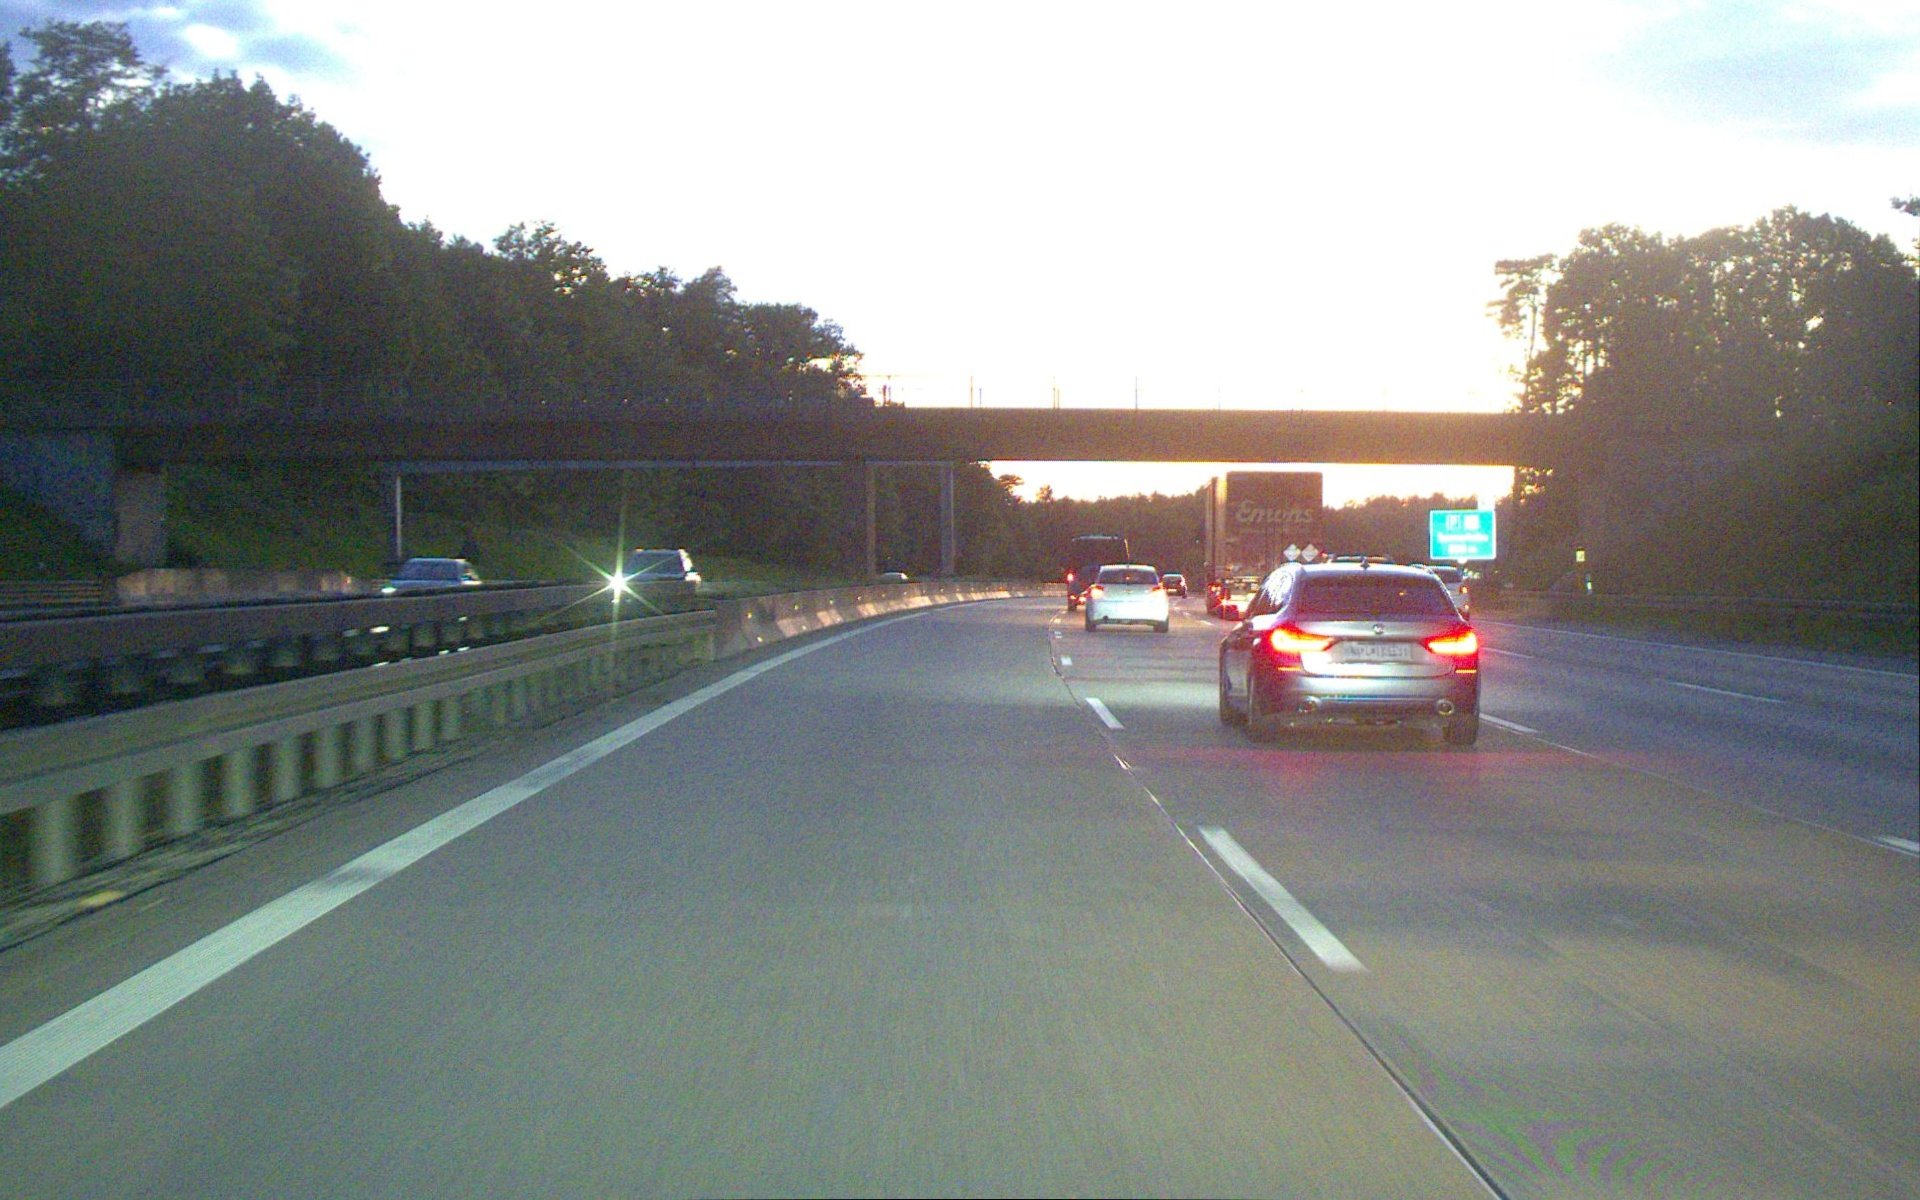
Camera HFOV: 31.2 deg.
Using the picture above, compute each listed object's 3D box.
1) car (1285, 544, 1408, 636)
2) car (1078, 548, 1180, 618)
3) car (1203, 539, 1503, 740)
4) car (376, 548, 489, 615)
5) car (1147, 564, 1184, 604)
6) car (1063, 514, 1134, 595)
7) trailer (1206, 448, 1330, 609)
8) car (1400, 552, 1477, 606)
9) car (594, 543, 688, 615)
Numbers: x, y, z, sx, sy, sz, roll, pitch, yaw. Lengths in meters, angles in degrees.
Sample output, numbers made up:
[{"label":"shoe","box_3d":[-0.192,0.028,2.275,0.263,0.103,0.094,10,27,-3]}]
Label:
[{"label":"car","box_3d":[7.189,-0.195,64.362,1.903,1.638,5.052,1,0,2]},{"label":"car","box_3d":[3.621,-0.383,74.181,1.859,1.437,3.721,0,1,-2]},{"label":"car","box_3d":[3.263,0.265,29.523,1.909,1.532,5.232,0,1,-1]},{"label":"car","box_3d":[-12.094,-0.440,79.110,1.875,1.438,4.451,1,1,1]},{"label":"car","box_3d":[12.940,-1.013,216.847,2.166,2.411,5.563,1,-1,2]},{"label":"car","box_3d":[4.357,-1.406,108.992,2.166,2.411,5.563,1,-1,2]},{"label":"trailer","box_3d":[8.459,-1.870,95.490,2.907,4.087,10.356,1,-1,3]},{"label":"car","box_3d":[13.350,-0.566,96.104,1.859,1.437,4.111,1,0,4]},{"label":"car","box_3d":[-8.383,-0.582,90.636,1.993,1.791,4.831,0,1,0]}]
